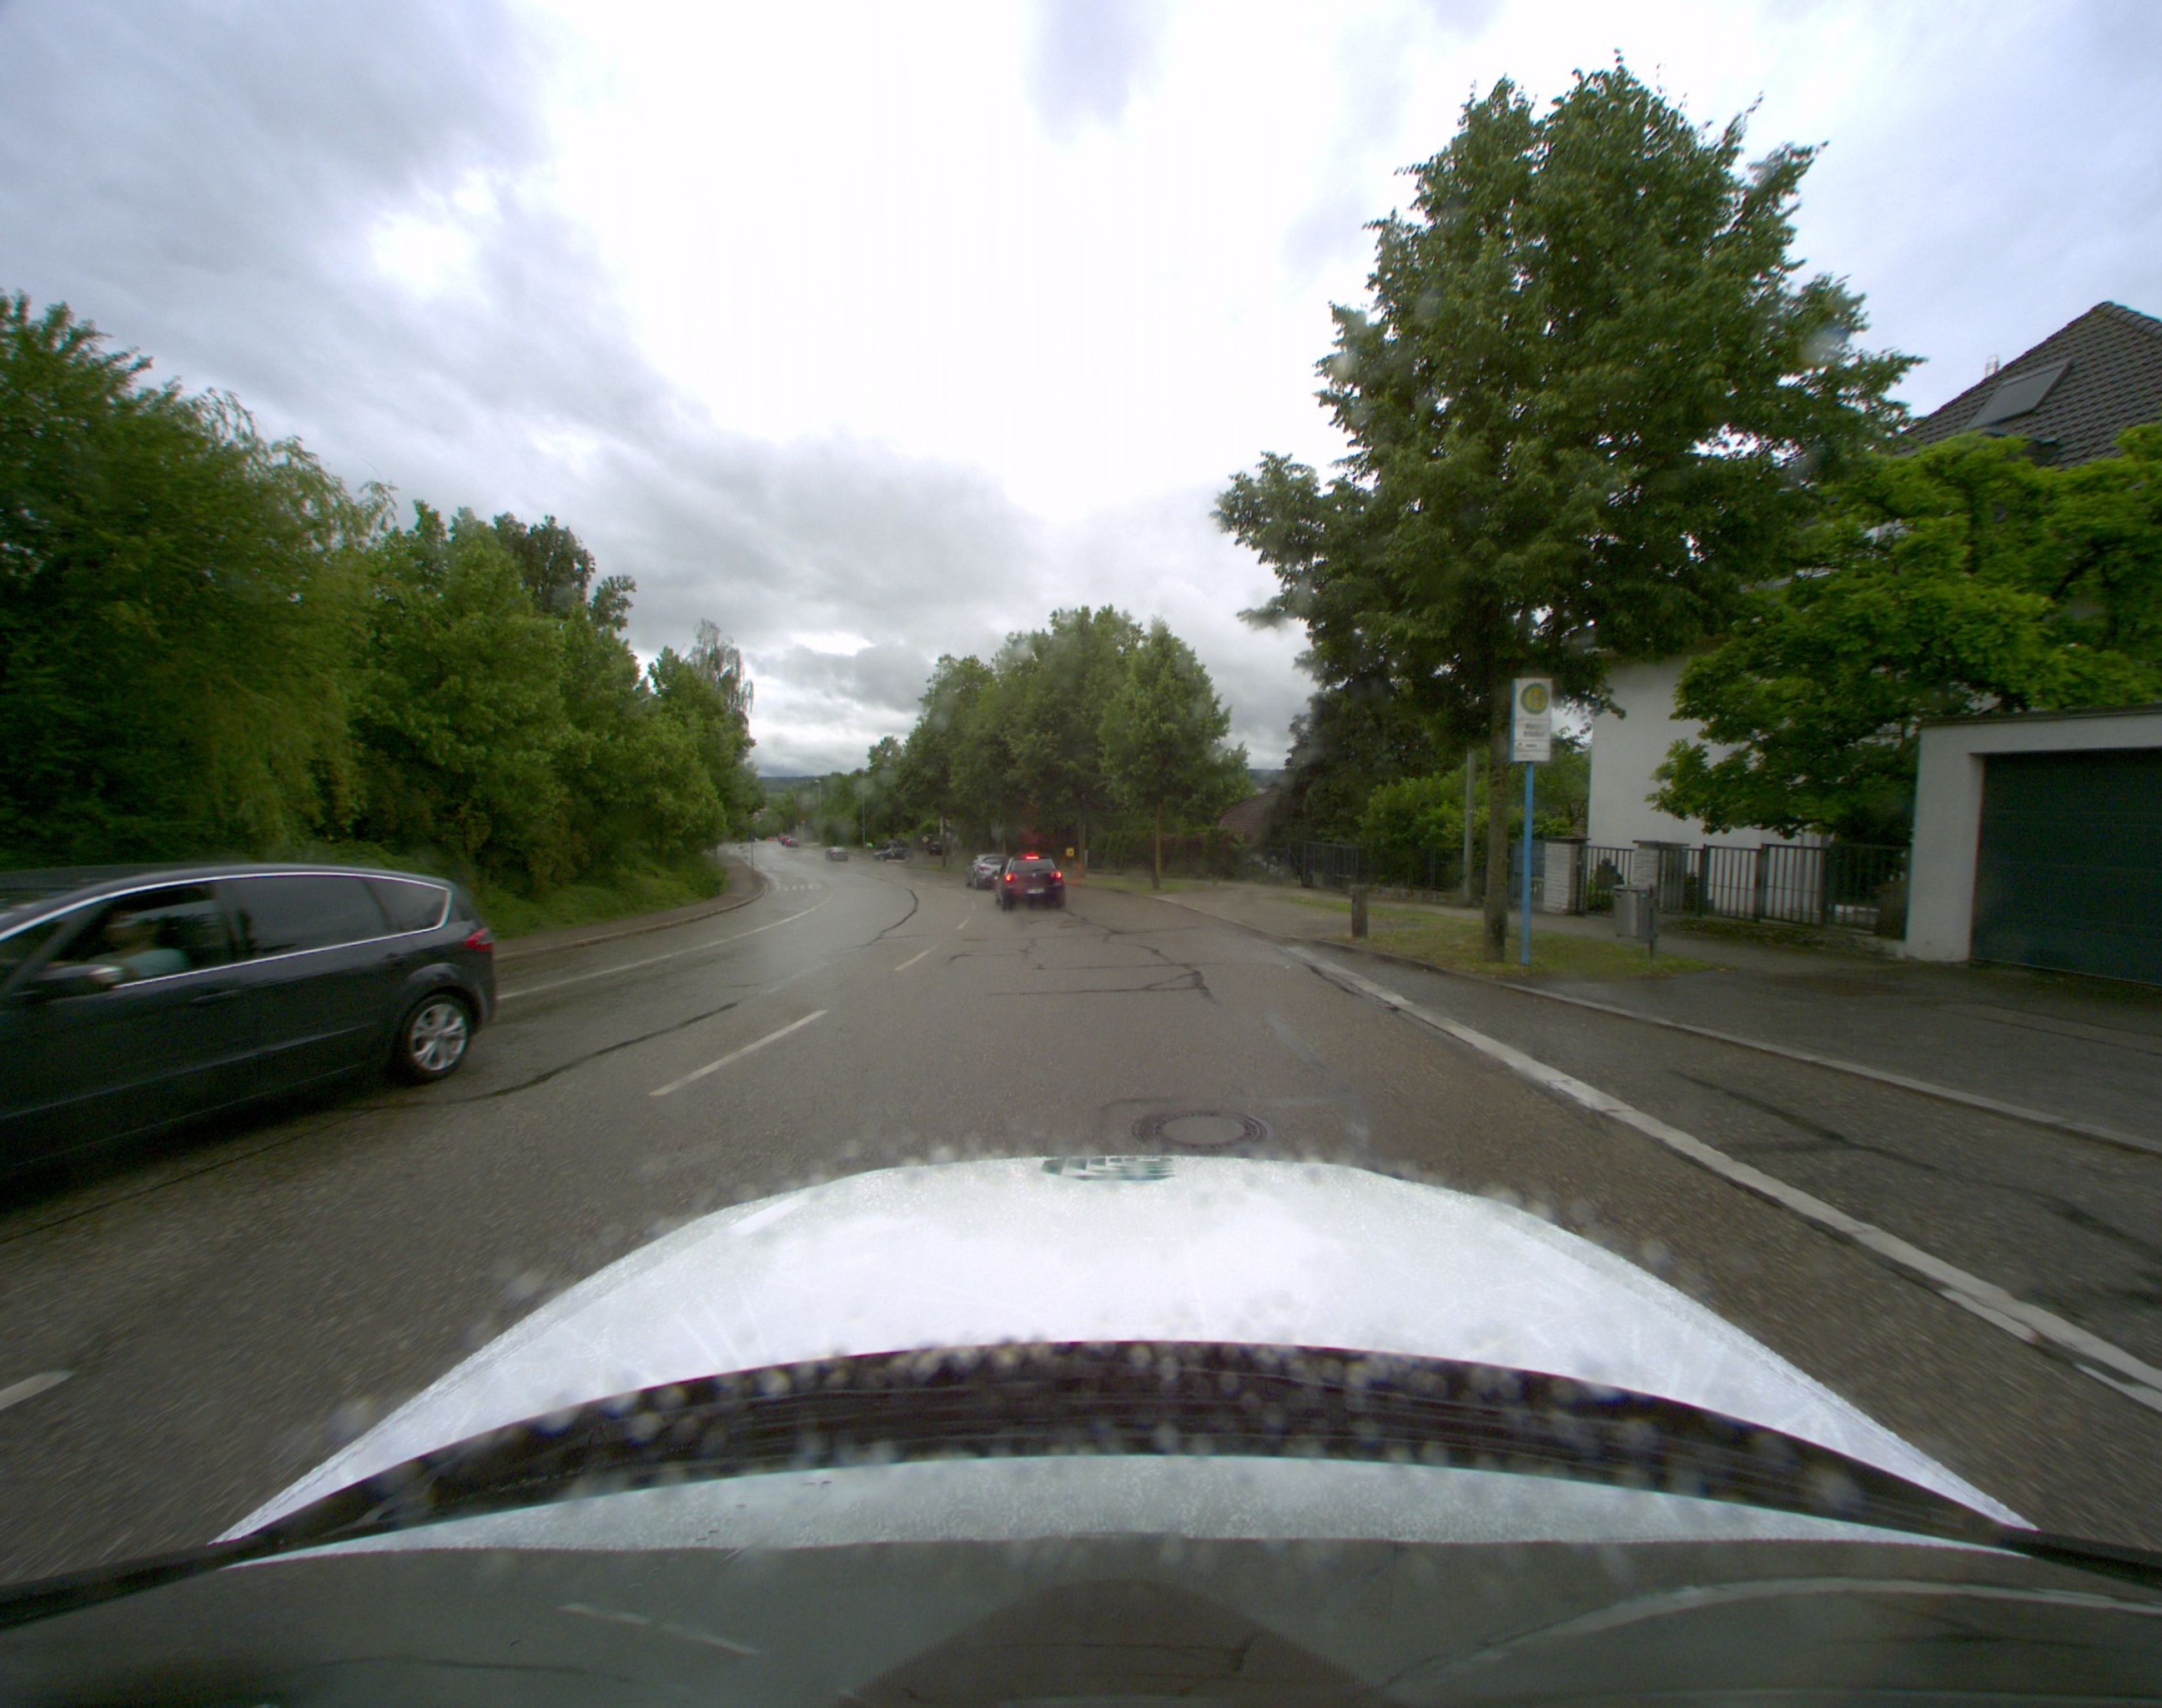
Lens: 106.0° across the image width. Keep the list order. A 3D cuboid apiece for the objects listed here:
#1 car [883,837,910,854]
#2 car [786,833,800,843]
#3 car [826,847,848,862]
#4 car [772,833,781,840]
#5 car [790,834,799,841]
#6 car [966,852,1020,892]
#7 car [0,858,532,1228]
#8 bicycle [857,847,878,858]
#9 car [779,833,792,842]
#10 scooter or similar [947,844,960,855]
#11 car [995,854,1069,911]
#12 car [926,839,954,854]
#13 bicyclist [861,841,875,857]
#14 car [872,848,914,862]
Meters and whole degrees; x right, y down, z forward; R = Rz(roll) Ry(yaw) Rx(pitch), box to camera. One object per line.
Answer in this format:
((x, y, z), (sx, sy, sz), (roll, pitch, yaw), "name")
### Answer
((-22.199, -1.041, 98.148), (1.939, 1.688, 4.910), (1, 4, 3), "car")
((-42.949, -2.409, 121.528), (1.729, 1.464, 3.970), (2, 1, -23), "car")
((-25.076, 0.028, 83.599), (1.729, 1.464, 3.970), (2, 1, -23), "car")
((-71.689, -4.095, 191.557), (1.729, 1.464, 3.970), (2, 1, -23), "car")
((-70.400, -4.053, 200.058), (1.728, 1.463, 3.973), (-2, 2, -21), "car")
((-3.874, 0.729, 35.149), (1.757, 1.464, 3.981), (-2, 2, -14), "car")
((-5.585, 0.846, 4.531), (1.804, 1.577, 4.686), (-1, 0, 1), "car")
((-24.182, -0.173, 92.247), (2.015, 1.155, 0.858), (-1, 1, 18), "bicycle")
((-49.524, -2.775, 136.559), (1.729, 1.464, 3.970), (2, 1, -23), "car")
((-15.061, -0.540, 96.099), (1.344, 1.285, 0.556), (-3, 2, -31), "scooter or similar")
((-1.492, 0.753, 23.495), (1.721, 1.464, 3.987), (-1, 0, -9), "car")
((-16.916, -0.949, 97.712), (1.739, 1.469, 4.583), (2, 5, 12), "car")
((-24.121, -0.587, 92.220), (1.271, 1.755, 0.858), (-1, 1, 18), "bicyclist")
((-20.002, 0.136, 86.642), (4.141, 1.383, 1.715), (-1, 0, -21), "car")
